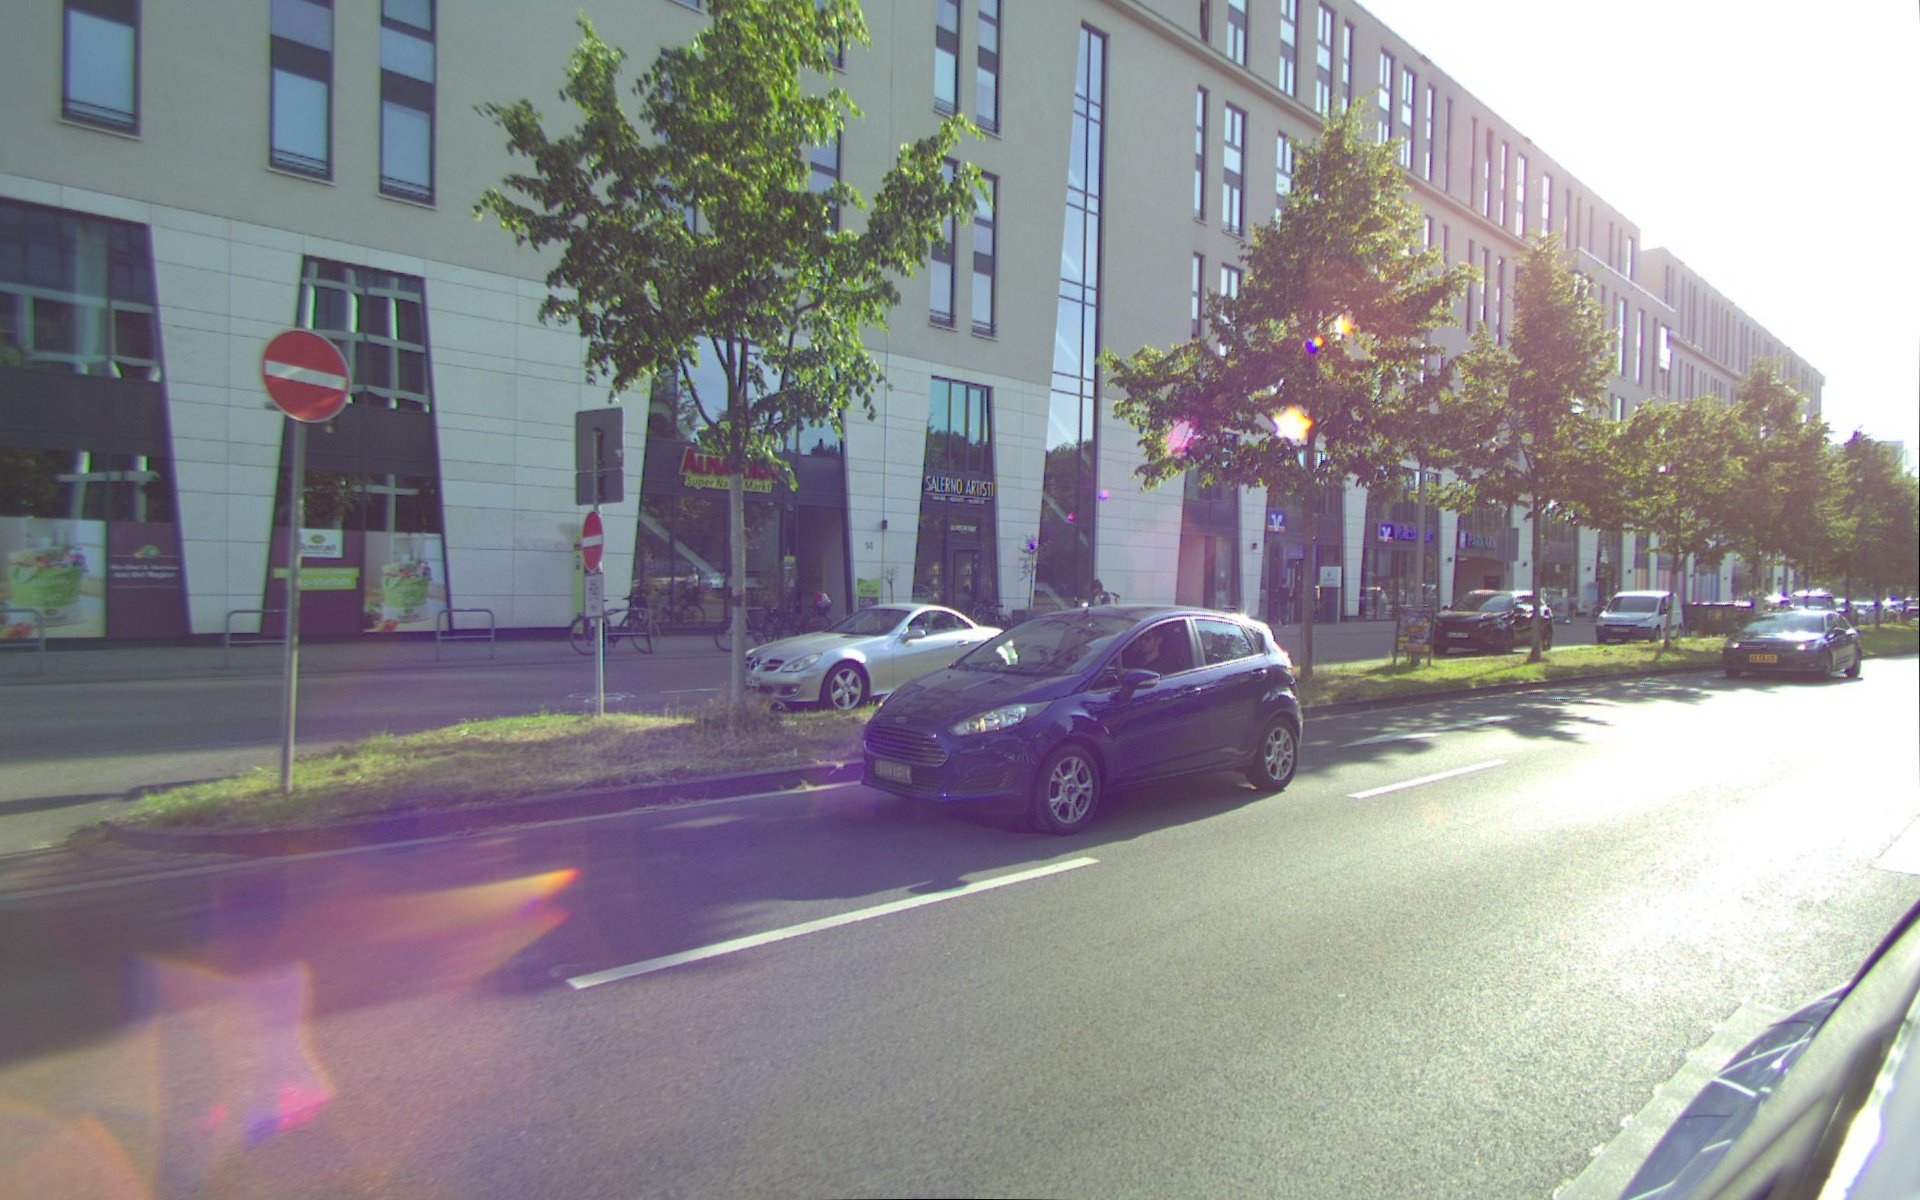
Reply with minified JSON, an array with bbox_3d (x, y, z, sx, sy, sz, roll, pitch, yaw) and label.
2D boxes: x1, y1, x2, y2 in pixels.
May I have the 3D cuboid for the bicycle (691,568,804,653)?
[{"bbox_3d":[-4.156,0.179,19.907,2.173,1.587,0.556,-1,0,-40],"label":"bicycle"}]

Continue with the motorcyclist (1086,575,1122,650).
[{"bbox_3d":[3.302,0.281,23.189,0.411,1.660,0.624,0,3,-43],"label":"motorcyclist"}]

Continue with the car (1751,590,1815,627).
[{"bbox_3d":[39.412,0.402,48.414,4.769,1.650,1.732,0,1,-43],"label":"car"}]

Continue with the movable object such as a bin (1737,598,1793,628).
[{"bbox_3d":[35.366,0.556,44.466,1.307,1.252,1.405,0,0,-13],"label":"movable object such as a bin"}]

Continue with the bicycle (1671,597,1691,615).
[{"bbox_3d":[44.288,0.361,62.152,2.008,1.012,0.419,-1,5,-40],"label":"bicycle"}]

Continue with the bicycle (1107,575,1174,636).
[{"bbox_3d":[5.026,0.130,28.105,2.173,1.639,0.556,-1,0,-40],"label":"bicycle"}]

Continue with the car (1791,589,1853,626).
[{"bbox_3d":[46.565,0.358,54.631,4.944,1.900,1.840,-1,0,-41],"label":"car"}]

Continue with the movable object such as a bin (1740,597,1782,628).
[{"bbox_3d":[34.327,0.530,43.362,1.172,1.318,1.278,0,0,-44],"label":"movable object such as a bin"}]

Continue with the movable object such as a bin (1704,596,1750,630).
[{"bbox_3d":[30.400,0.522,40.091,1.159,1.308,1.278,0,0,-44],"label":"movable object such as a bin"}]

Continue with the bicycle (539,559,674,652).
[{"bbox_3d":[-6.367,0.083,18.324,2.236,1.590,0.556,-1,0,-40],"label":"bicycle"}]

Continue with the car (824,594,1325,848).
[{"bbox_3d":[1.023,0.696,7.610,3.838,1.442,1.563,0,-1,-41],"label":"car"}]

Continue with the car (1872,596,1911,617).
[{"bbox_3d":[67.917,0.472,73.770,4.043,1.450,1.731,-1,0,-42],"label":"car"}]

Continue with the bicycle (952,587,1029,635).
[{"bbox_3d":[0.747,0.249,24.322,1.871,1.097,0.635,0,2,-40],"label":"bicycle"}]

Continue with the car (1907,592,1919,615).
[{"bbox_3d":[80.832,0.276,84.667,4.760,1.898,1.897,-1,0,-41],"label":"car"}]

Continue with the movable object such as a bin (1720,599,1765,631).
[{"bbox_3d":[31.475,0.586,40.701,1.172,1.252,1.278,0,0,-44],"label":"movable object such as a bin"}]

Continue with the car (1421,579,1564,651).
[{"bbox_3d":[14.062,0.379,26.612,4.597,1.730,1.899,1,-1,-42],"label":"car"}]

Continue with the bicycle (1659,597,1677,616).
[{"bbox_3d":[42.034,0.378,60.087,1.702,1.094,0.345,-1,5,-40],"label":"bicycle"}]

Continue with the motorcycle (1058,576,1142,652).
[{"bbox_3d":[3.212,0.293,23.121,1.977,1.636,0.702,-1,5,-41],"label":"motorcycle"}]

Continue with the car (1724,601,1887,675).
[{"bbox_3d":[18.450,0.755,22.041,3.962,1.442,1.700,-1,0,-34],"label":"car"}]

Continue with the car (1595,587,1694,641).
[{"bbox_3d":[23.278,0.431,34.362,4.222,1.733,1.830,-1,0,-42],"label":"car"}]

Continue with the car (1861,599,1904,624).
[{"bbox_3d":[56.840,0.698,62.330,4.098,1.430,1.617,-1,0,-43],"label":"car"}]

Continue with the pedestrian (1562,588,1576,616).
[{"bbox_3d":[33.925,0.106,56.368,0.587,1.541,0.514,0,0,-41],"label":"pedestrian"}]

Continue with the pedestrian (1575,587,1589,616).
[{"bbox_3d":[34.264,0.075,55.748,0.529,1.594,0.515,0,0,-34],"label":"pedestrian"}]

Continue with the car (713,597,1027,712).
[{"bbox_3d":[-1.074,0.607,13.215,3.838,1.258,1.710,-1,0,-42],"label":"car"}]

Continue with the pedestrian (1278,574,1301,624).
[{"bbox_3d":[11.738,-0.039,36.059,0.635,1.785,0.538,0,0,-40],"label":"pedestrian"}]
